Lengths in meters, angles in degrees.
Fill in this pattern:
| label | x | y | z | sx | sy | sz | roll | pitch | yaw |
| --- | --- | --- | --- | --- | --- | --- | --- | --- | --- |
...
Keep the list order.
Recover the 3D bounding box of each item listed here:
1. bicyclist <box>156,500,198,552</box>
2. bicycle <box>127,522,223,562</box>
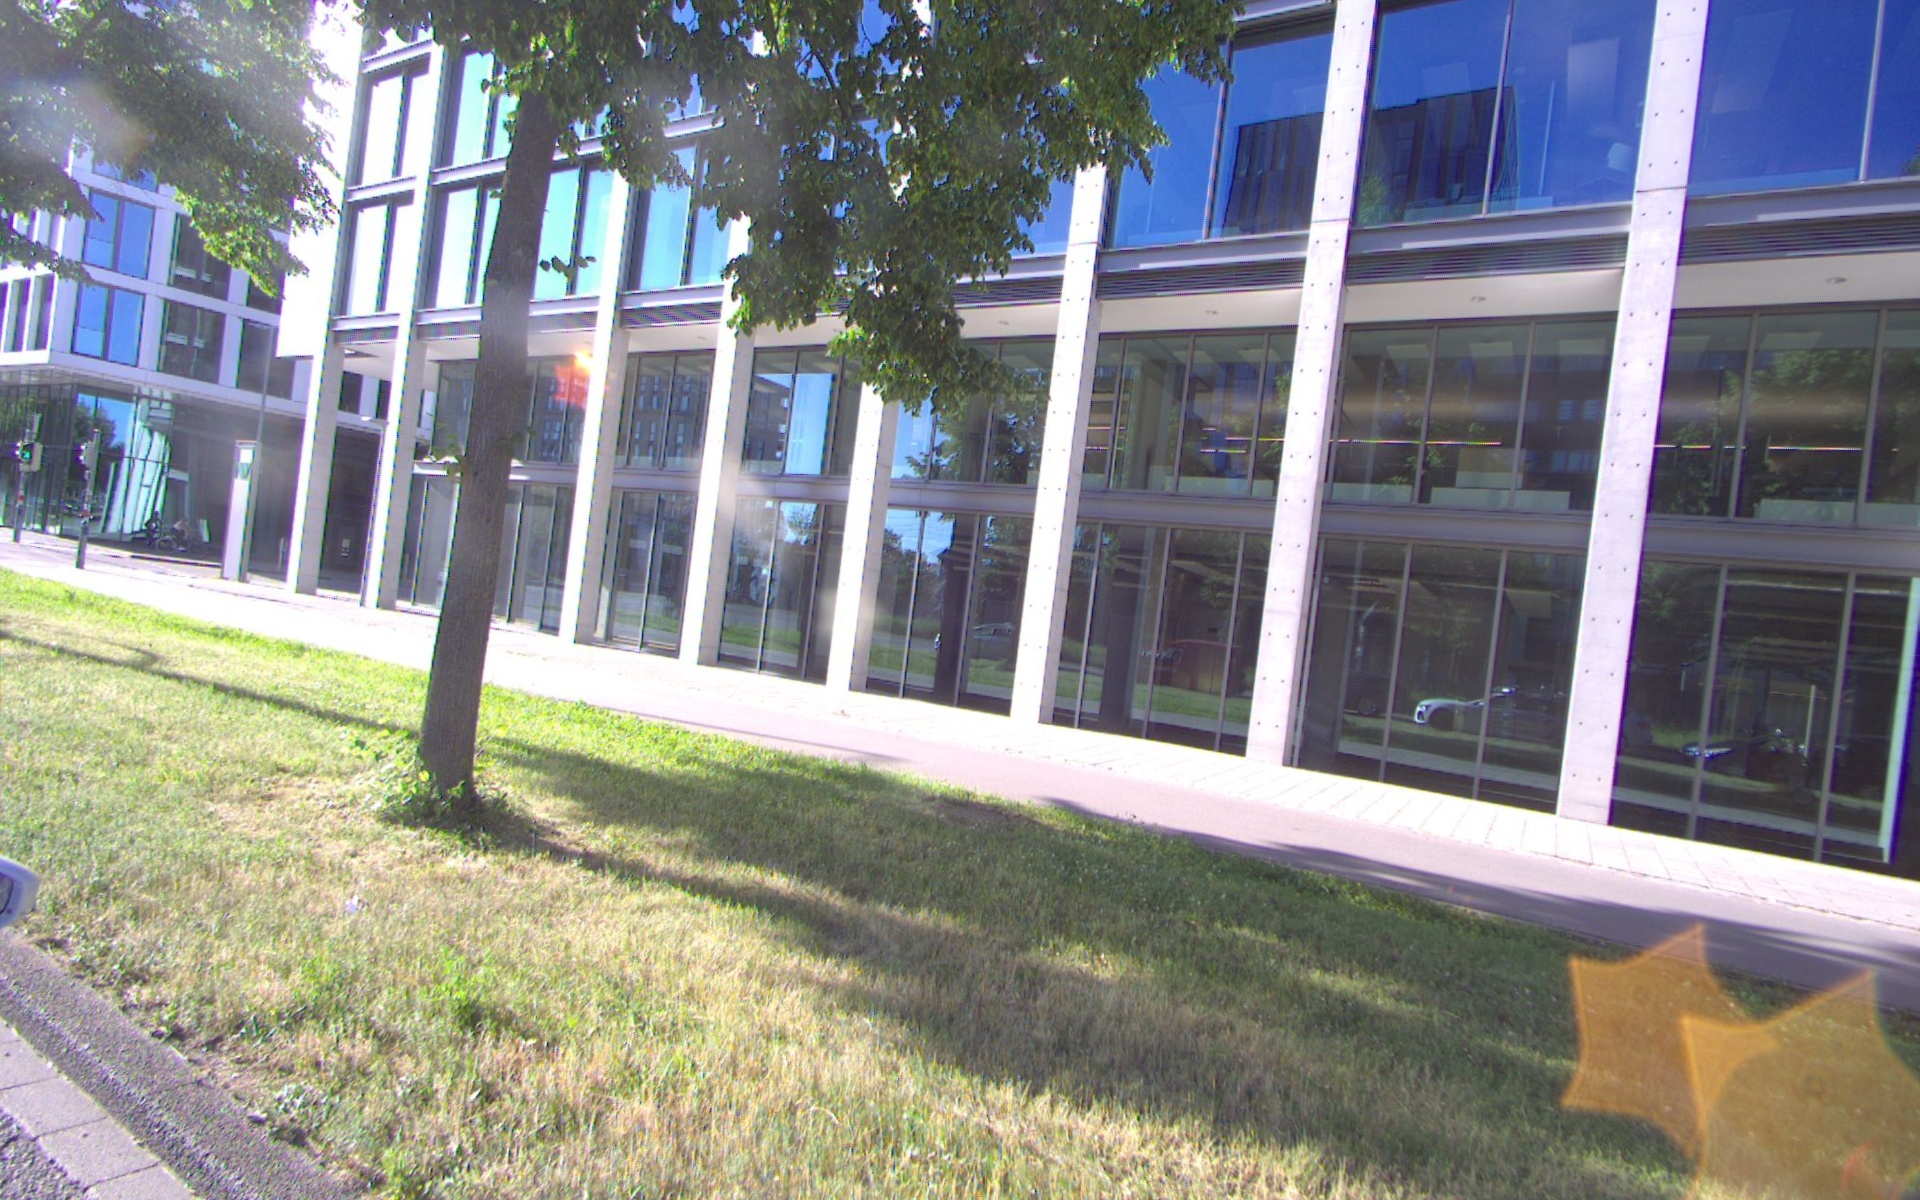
| label | x | y | z | sx | sy | sz | roll | pitch | yaw |
| --- | --- | --- | --- | --- | --- | --- | --- | --- | --- |
| bicyclist | -32.450 | -3.040 | 41.703 | 0.987 | 1.970 | 0.814 | 7 | 0 | -19 |
| bicycle | -32.512 | -2.367 | 41.710 | 2.909 | 1.204 | 0.814 | 8 | 0 | -19 |
